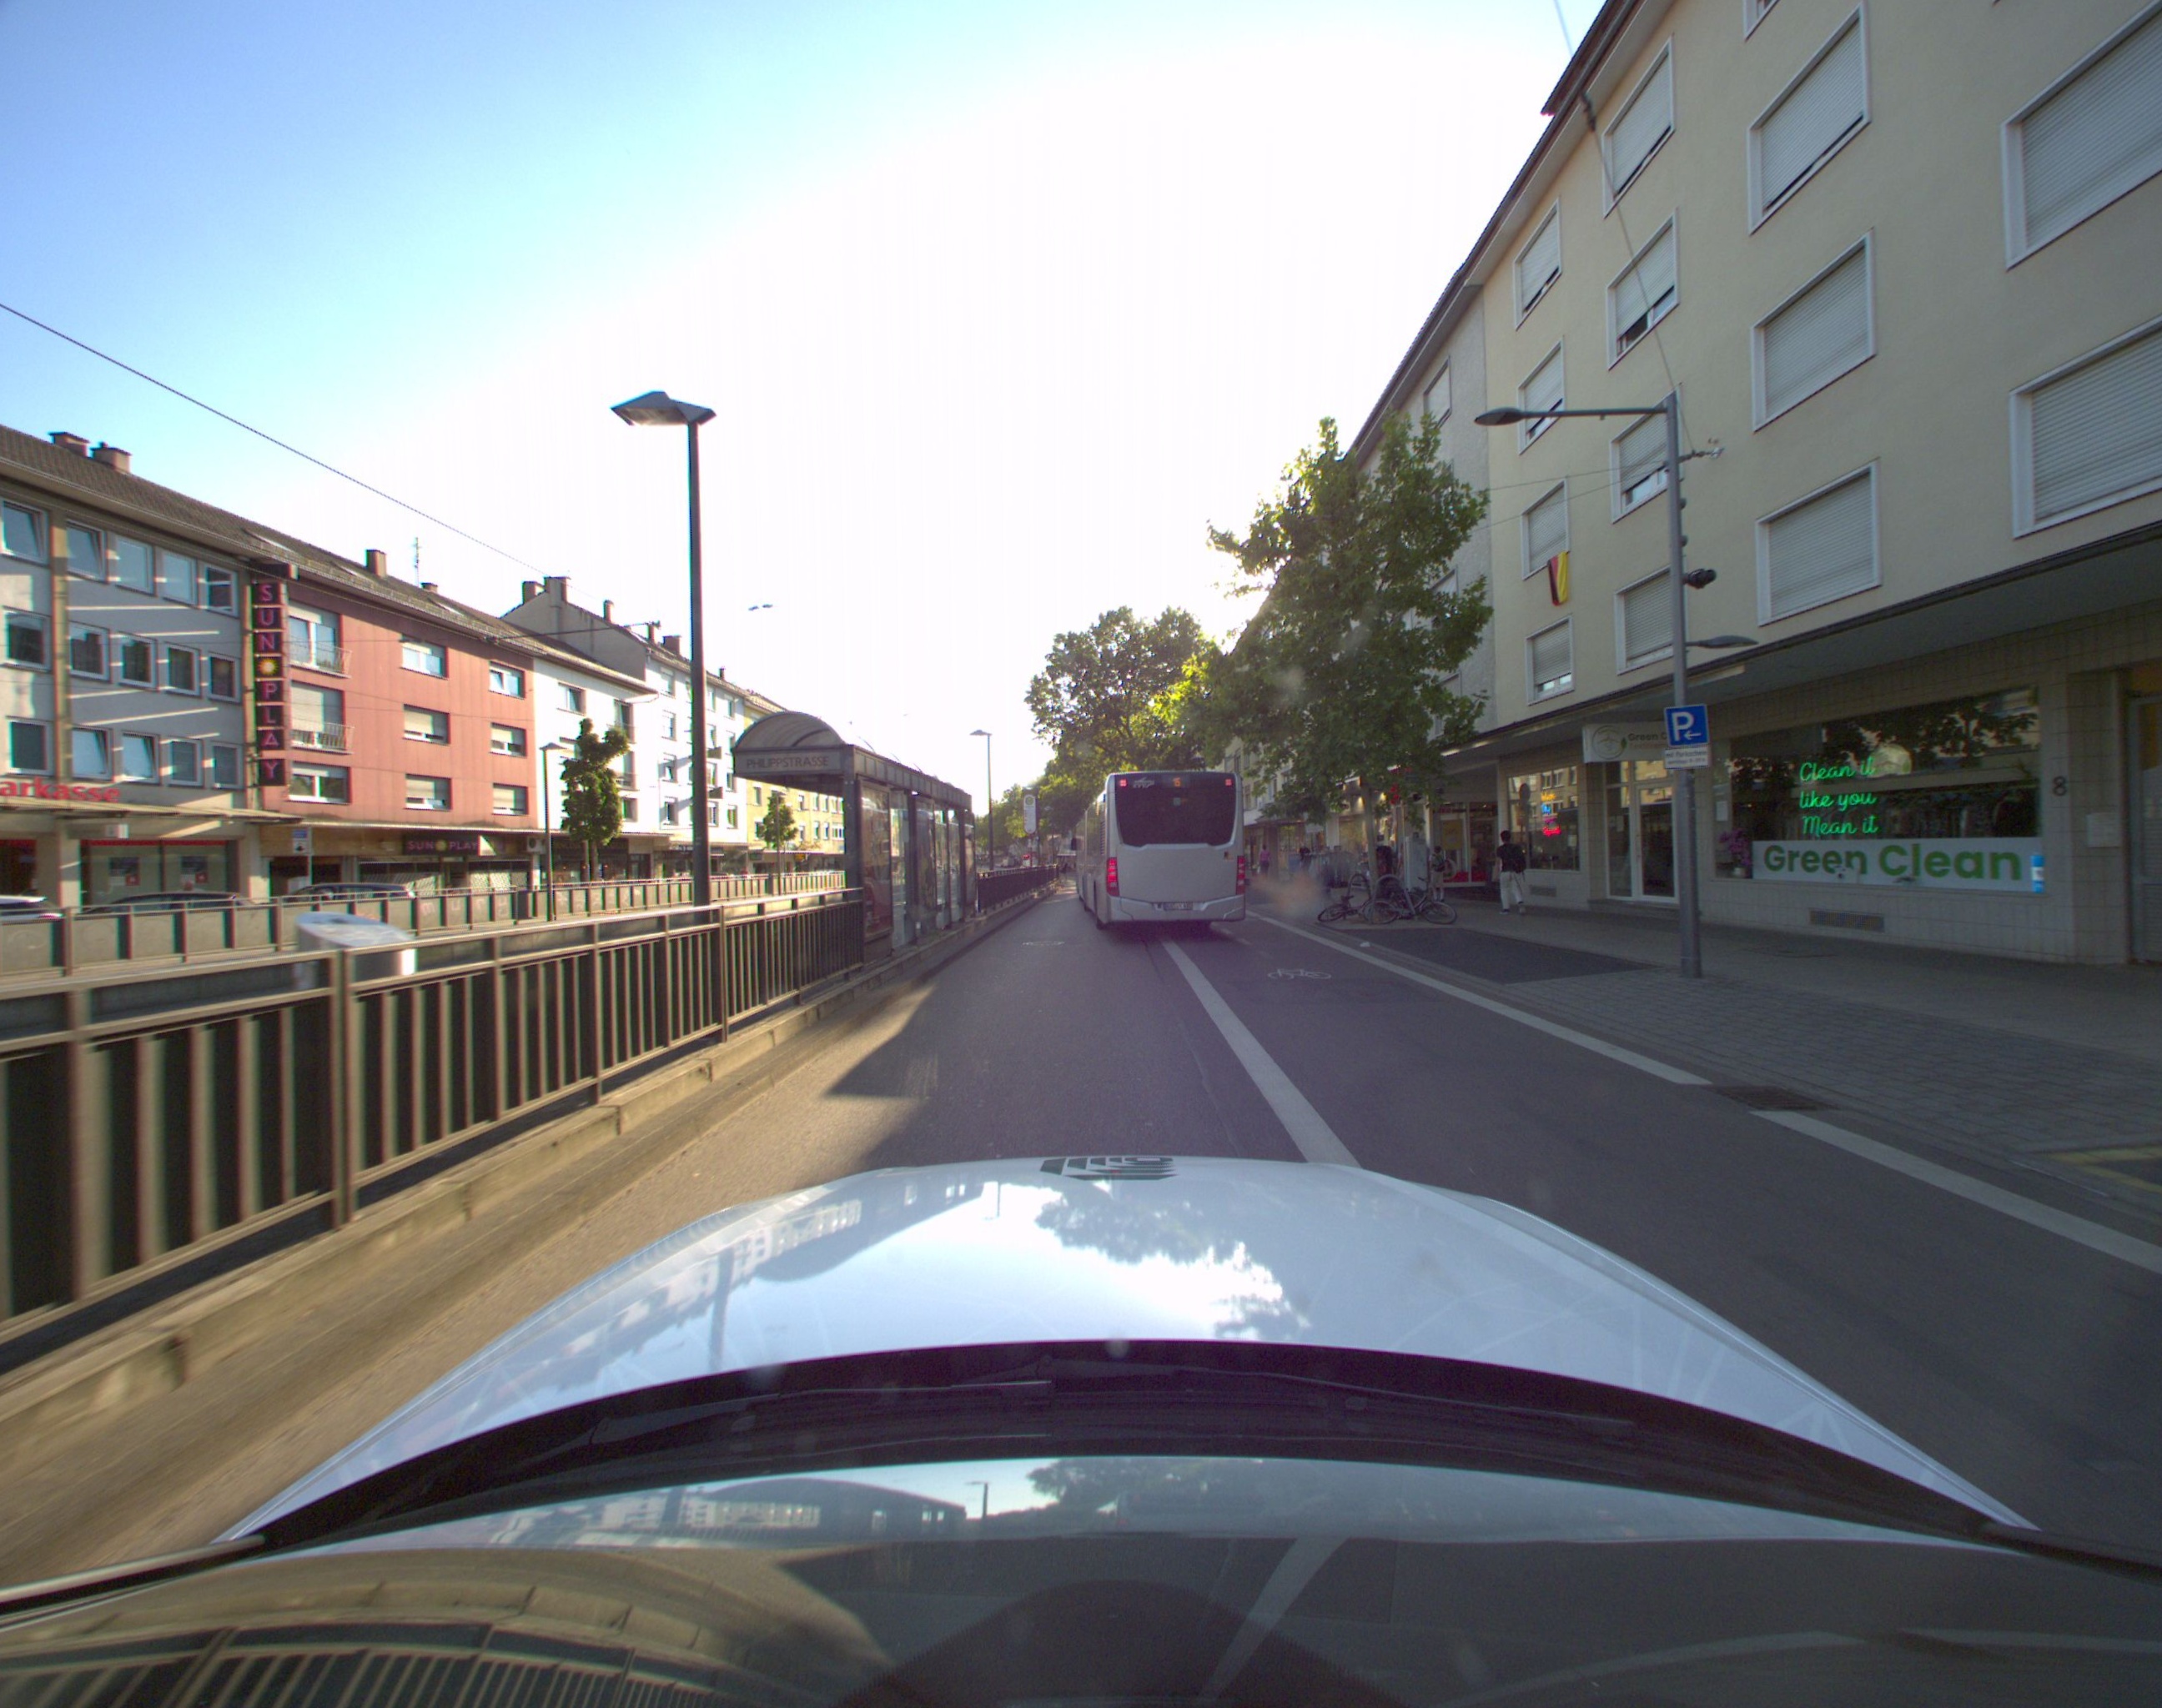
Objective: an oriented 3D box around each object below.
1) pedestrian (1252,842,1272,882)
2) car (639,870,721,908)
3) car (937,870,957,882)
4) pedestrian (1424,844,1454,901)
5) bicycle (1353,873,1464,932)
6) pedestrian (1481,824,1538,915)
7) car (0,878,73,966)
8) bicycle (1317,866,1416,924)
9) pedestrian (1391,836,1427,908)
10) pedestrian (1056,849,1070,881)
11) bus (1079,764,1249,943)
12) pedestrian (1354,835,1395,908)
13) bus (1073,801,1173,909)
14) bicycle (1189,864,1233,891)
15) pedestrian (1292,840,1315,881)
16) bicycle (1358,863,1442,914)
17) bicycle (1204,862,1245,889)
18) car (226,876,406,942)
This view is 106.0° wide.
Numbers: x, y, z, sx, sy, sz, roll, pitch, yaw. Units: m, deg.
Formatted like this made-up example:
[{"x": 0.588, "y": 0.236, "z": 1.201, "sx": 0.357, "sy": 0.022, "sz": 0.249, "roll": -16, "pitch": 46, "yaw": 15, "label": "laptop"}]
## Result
[{"x": 8.486, "y": 0.373, "z": 38.152, "sx": 0.721, "sy": 1.795, "sz": 0.767, "roll": -2, "pitch": -1, "yaw": 1, "label": "pedestrian"}, {"x": -21.599, "y": 1.837, "z": 43.936, "sx": 3.532, "sy": 1.679, "sz": 1.749, "roll": -5, "pitch": 3, "yaw": -44, "label": "car"}, {"x": -19.499, "y": 3.136, "z": 118.758, "sx": 1.986, "sy": 1.651, "sz": 4.001, "roll": -2, "pitch": -1, "yaw": 2, "label": "car"}, {"x": 9.047, "y": 0.466, "z": 20.590, "sx": 0.473, "sy": 1.395, "sz": 0.612, "roll": -2, "pitch": -1, "yaw": 1, "label": "pedestrian"}, {"x": 6.344, "y": 0.929, "z": 15.844, "sx": 1.778, "sy": 0.942, "sz": 0.793, "roll": -5, "pitch": -1, "yaw": -3, "label": "bicycle"}, {"x": 8.700, "y": 0.307, "z": 16.572, "sx": 0.721, "sy": 1.795, "sz": 0.767, "roll": -2, "pitch": -1, "yaw": 1, "label": "pedestrian"}, {"x": -22.386, "y": 1.378, "z": 15.731, "sx": 1.748, "sy": 1.679, "sz": 3.532, "roll": -2, "pitch": -1, "yaw": 43, "label": "car"}, {"x": 6.093, "y": 0.869, "z": 17.386, "sx": 1.793, "sy": 0.630, "sz": 0.930, "roll": -5, "pitch": -35, "yaw": -30, "label": "bicycle"}, {"x": 8.368, "y": 0.450, "z": 20.782, "sx": 0.562, "sy": 1.795, "sz": 0.767, "roll": -2, "pitch": -1, "yaw": 2, "label": "pedestrian"}, {"x": -1.473, "y": 0.902, "z": 66.691, "sx": 0.884, "sy": 2.546, "sz": 1.166, "roll": -2, "pitch": -1, "yaw": 8, "label": "pedestrian"}, {"x": 1.454, "y": 0.007, "z": 18.996, "sx": 2.689, "sy": 3.118, "sz": 9.374, "roll": -1, "pitch": 0, "yaw": -2, "label": "bus"}, {"x": 7.411, "y": 0.443, "z": 20.608, "sx": 0.721, "sy": 1.795, "sz": 0.767, "roll": -2, "pitch": -1, "yaw": 1, "label": "pedestrian"}, {"x": 1.166, "y": 0.063, "z": 28.217, "sx": 2.689, "sy": 3.118, "sz": 9.062, "roll": -1, "pitch": 0, "yaw": -2, "label": "bus"}, {"x": 6.135, "y": 1.110, "z": 38.483, "sx": 1.878, "sy": 1.077, "sz": 0.755, "roll": -6, "pitch": -1, "yaw": 4, "label": "bicycle"}, {"x": 9.967, "y": 0.290, "z": 36.522, "sx": 0.721, "sy": 1.795, "sz": 0.767, "roll": -5, "pitch": -1, "yaw": 1, "label": "pedestrian"}, {"x": 6.688, "y": 0.715, "z": 17.054, "sx": 1.702, "sy": 0.942, "sz": 0.646, "roll": 0, "pitch": -10, "yaw": -34, "label": "bicycle"}, {"x": 6.626, "y": 0.995, "z": 37.572, "sx": 1.707, "sy": 1.077, "sz": 0.589, "roll": -5, "pitch": -1, "yaw": -16, "label": "bicycle"}, {"x": -21.876, "y": 1.507, "z": 23.483, "sx": 1.758, "sy": 1.679, "sz": 3.513, "roll": 0, "pitch": 0, "yaw": 2, "label": "car"}]
